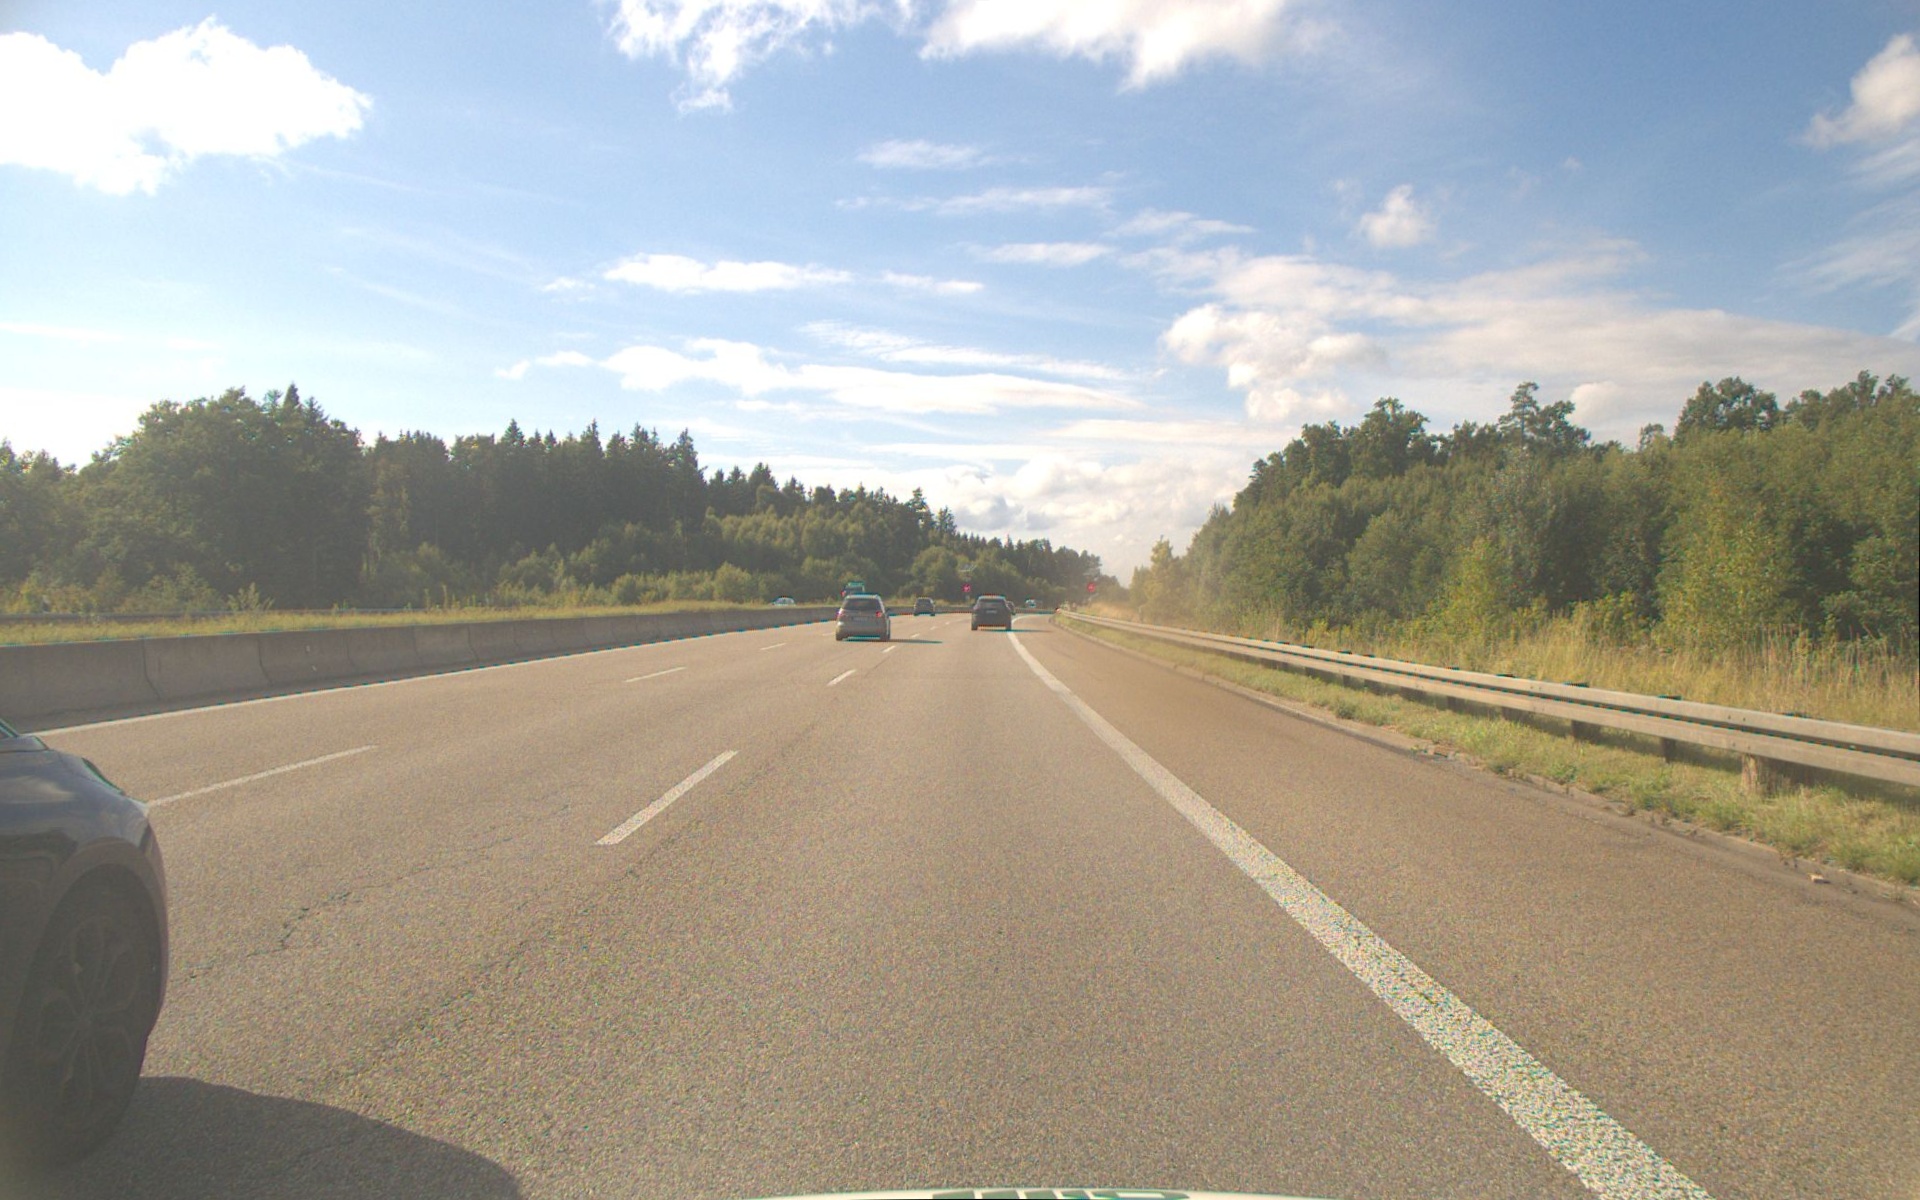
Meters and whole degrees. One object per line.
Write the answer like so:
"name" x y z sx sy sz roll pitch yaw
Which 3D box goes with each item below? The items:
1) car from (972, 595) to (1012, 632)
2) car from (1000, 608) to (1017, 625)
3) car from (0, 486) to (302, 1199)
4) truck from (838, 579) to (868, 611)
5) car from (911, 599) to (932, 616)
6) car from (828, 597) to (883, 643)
"car" 1.506 0.620 79.466 1.835 1.704 3.890 1 0 0
"car" 5.380 1.822 183.404 1.774 1.736 4.001 0 0 2
"car" -3.126 0.604 3.256 1.953 1.736 4.527 0 0 -2
"truck" -14.199 -0.676 219.129 3.305 4.079 5.865 1 0 2
"car" -3.591 0.664 154.343 1.835 1.523 3.879 1 0 -1
"car" -3.629 0.677 57.755 1.836 1.523 3.878 1 0 -3
